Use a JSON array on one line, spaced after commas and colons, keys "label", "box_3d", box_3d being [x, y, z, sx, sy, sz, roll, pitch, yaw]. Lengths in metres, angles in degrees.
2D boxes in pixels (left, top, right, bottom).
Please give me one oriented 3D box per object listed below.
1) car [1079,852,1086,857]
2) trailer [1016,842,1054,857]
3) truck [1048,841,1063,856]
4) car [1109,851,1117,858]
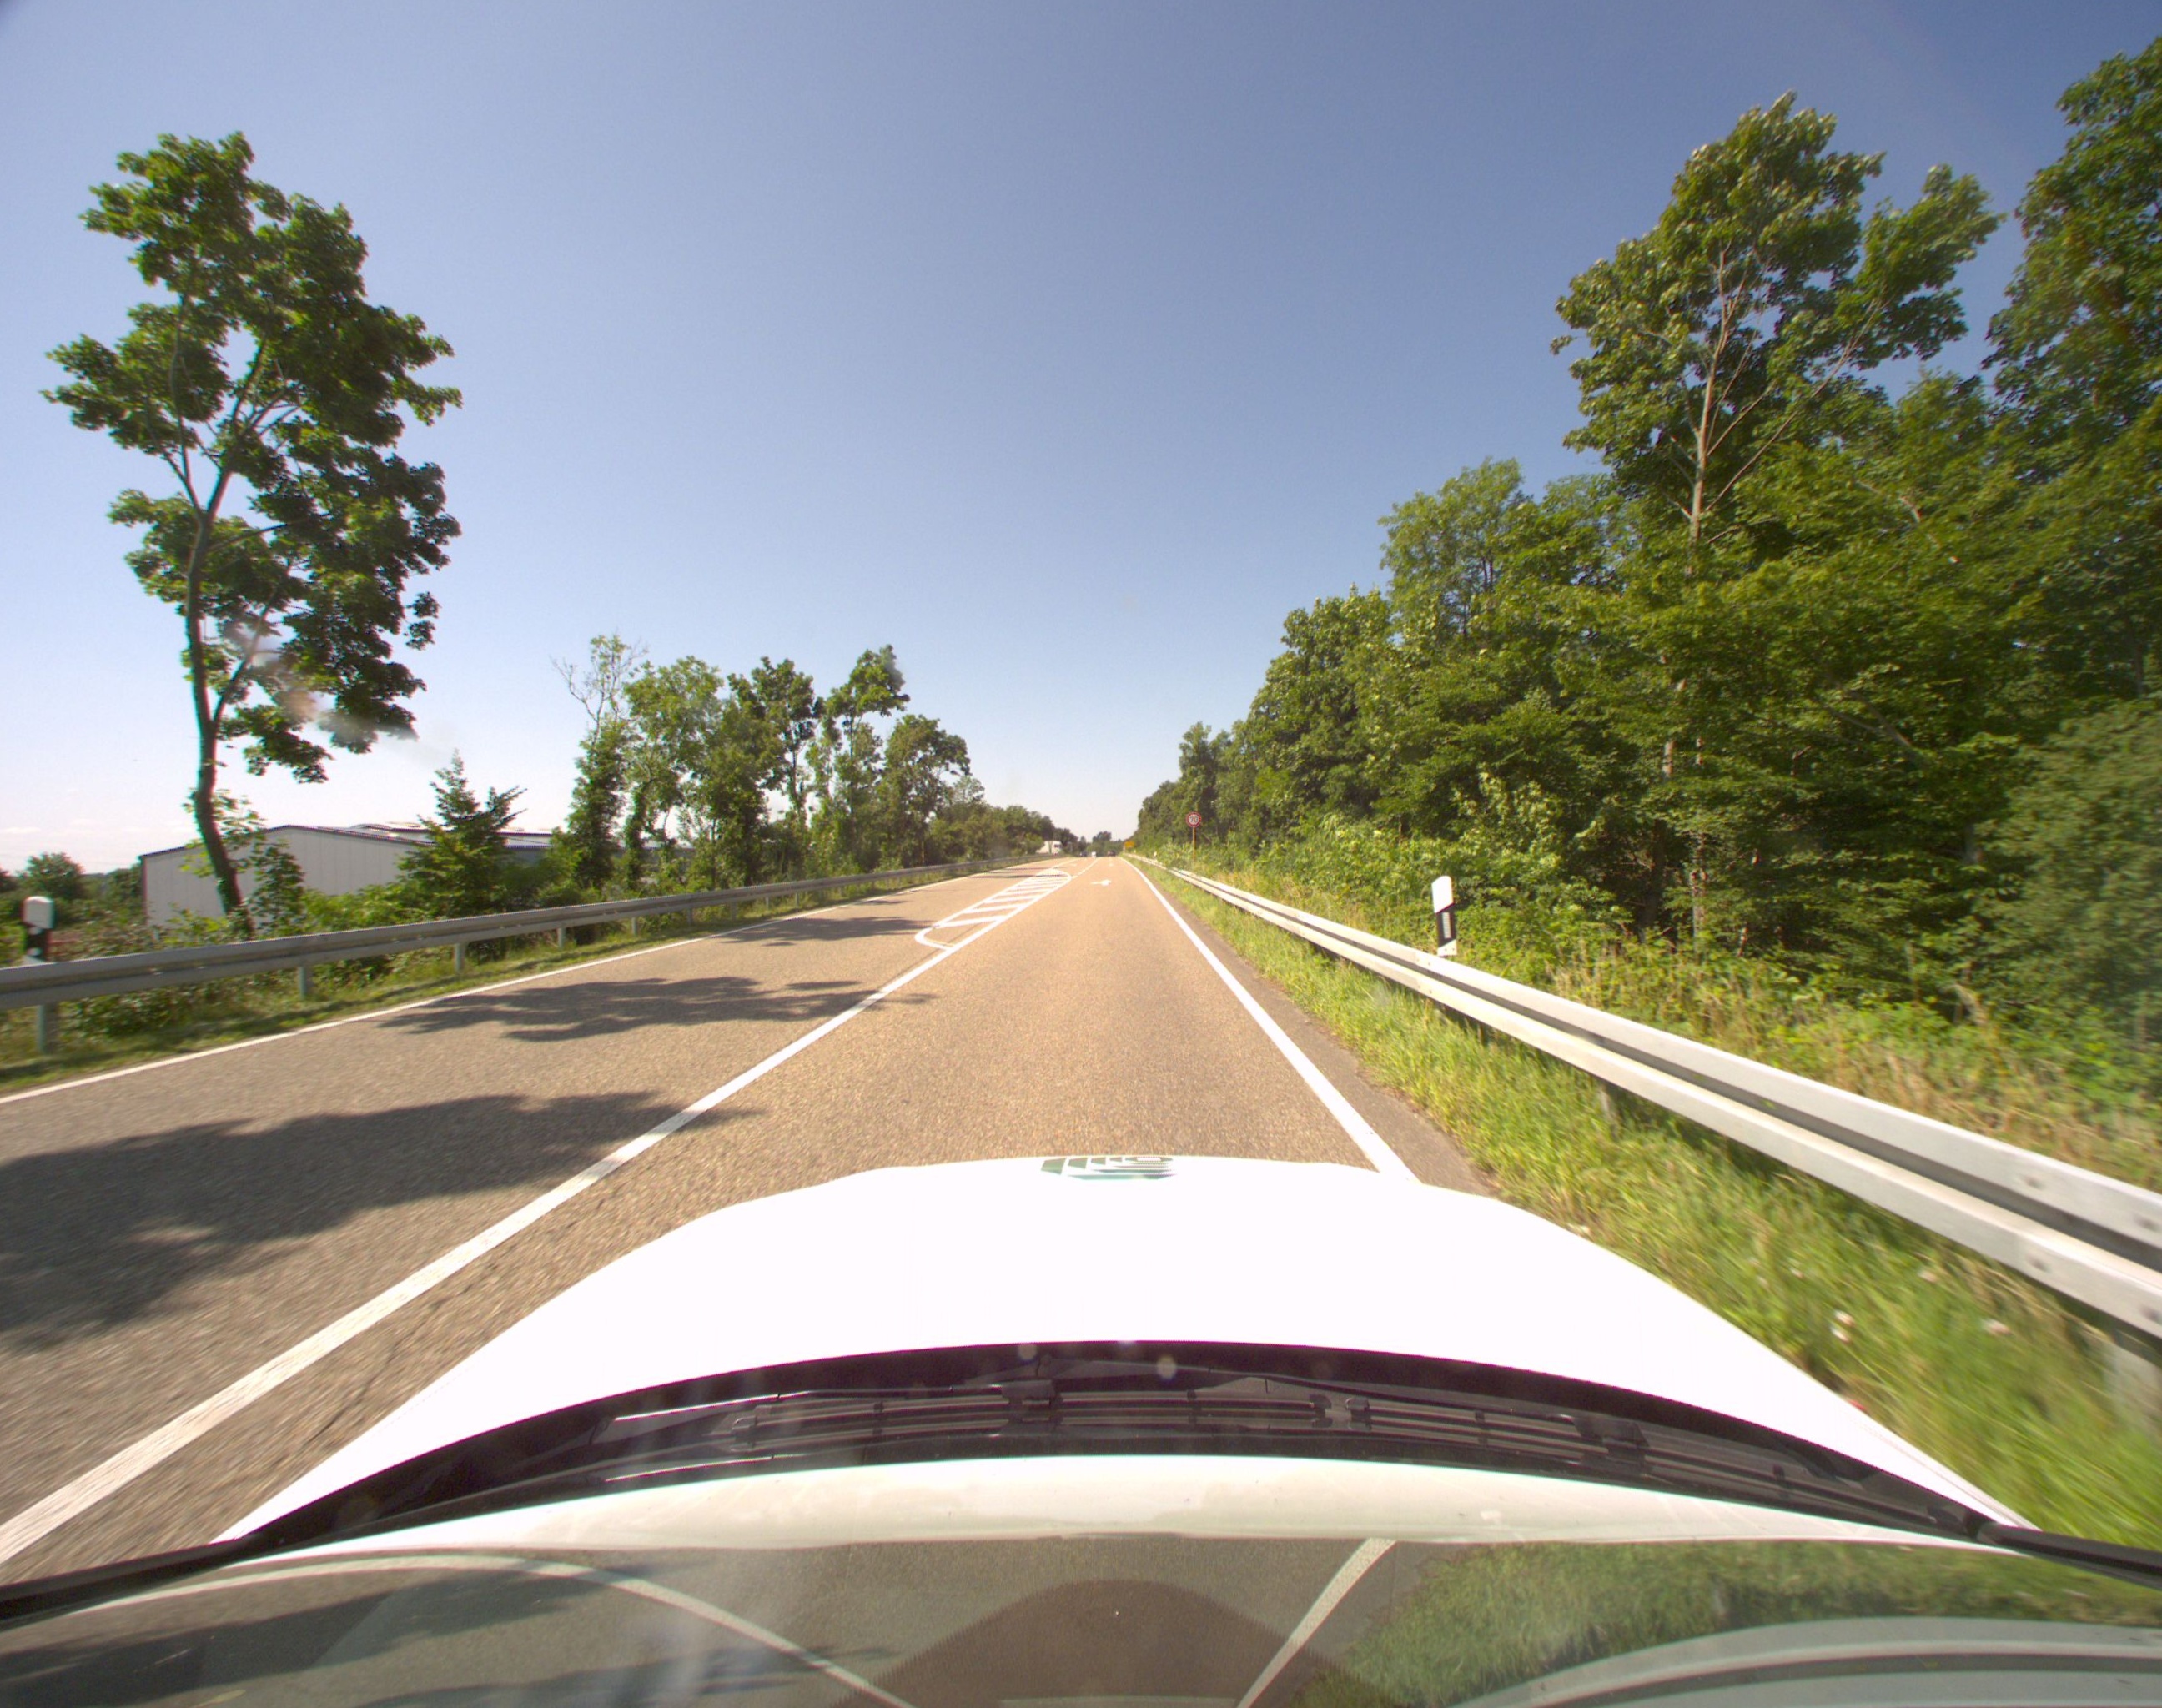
[{"label": "car", "box_3d": [0.438, 0.240, 214.574, 1.724, 1.267, 3.907, -1, 0, 2]}, {"label": "trailer", "box_3d": [-11.152, -1.193, 198.390, 9.063, 3.578, 2.002, -1, 0, 3]}, {"label": "truck", "box_3d": [-6.277, -1.245, 198.119, 3.450, 3.537, 2.002, -1, 0, 3]}, {"label": "car", "box_3d": [7.417, 0.165, 189.443, 1.734, 1.470, 3.694, -1, 0, 2]}]
